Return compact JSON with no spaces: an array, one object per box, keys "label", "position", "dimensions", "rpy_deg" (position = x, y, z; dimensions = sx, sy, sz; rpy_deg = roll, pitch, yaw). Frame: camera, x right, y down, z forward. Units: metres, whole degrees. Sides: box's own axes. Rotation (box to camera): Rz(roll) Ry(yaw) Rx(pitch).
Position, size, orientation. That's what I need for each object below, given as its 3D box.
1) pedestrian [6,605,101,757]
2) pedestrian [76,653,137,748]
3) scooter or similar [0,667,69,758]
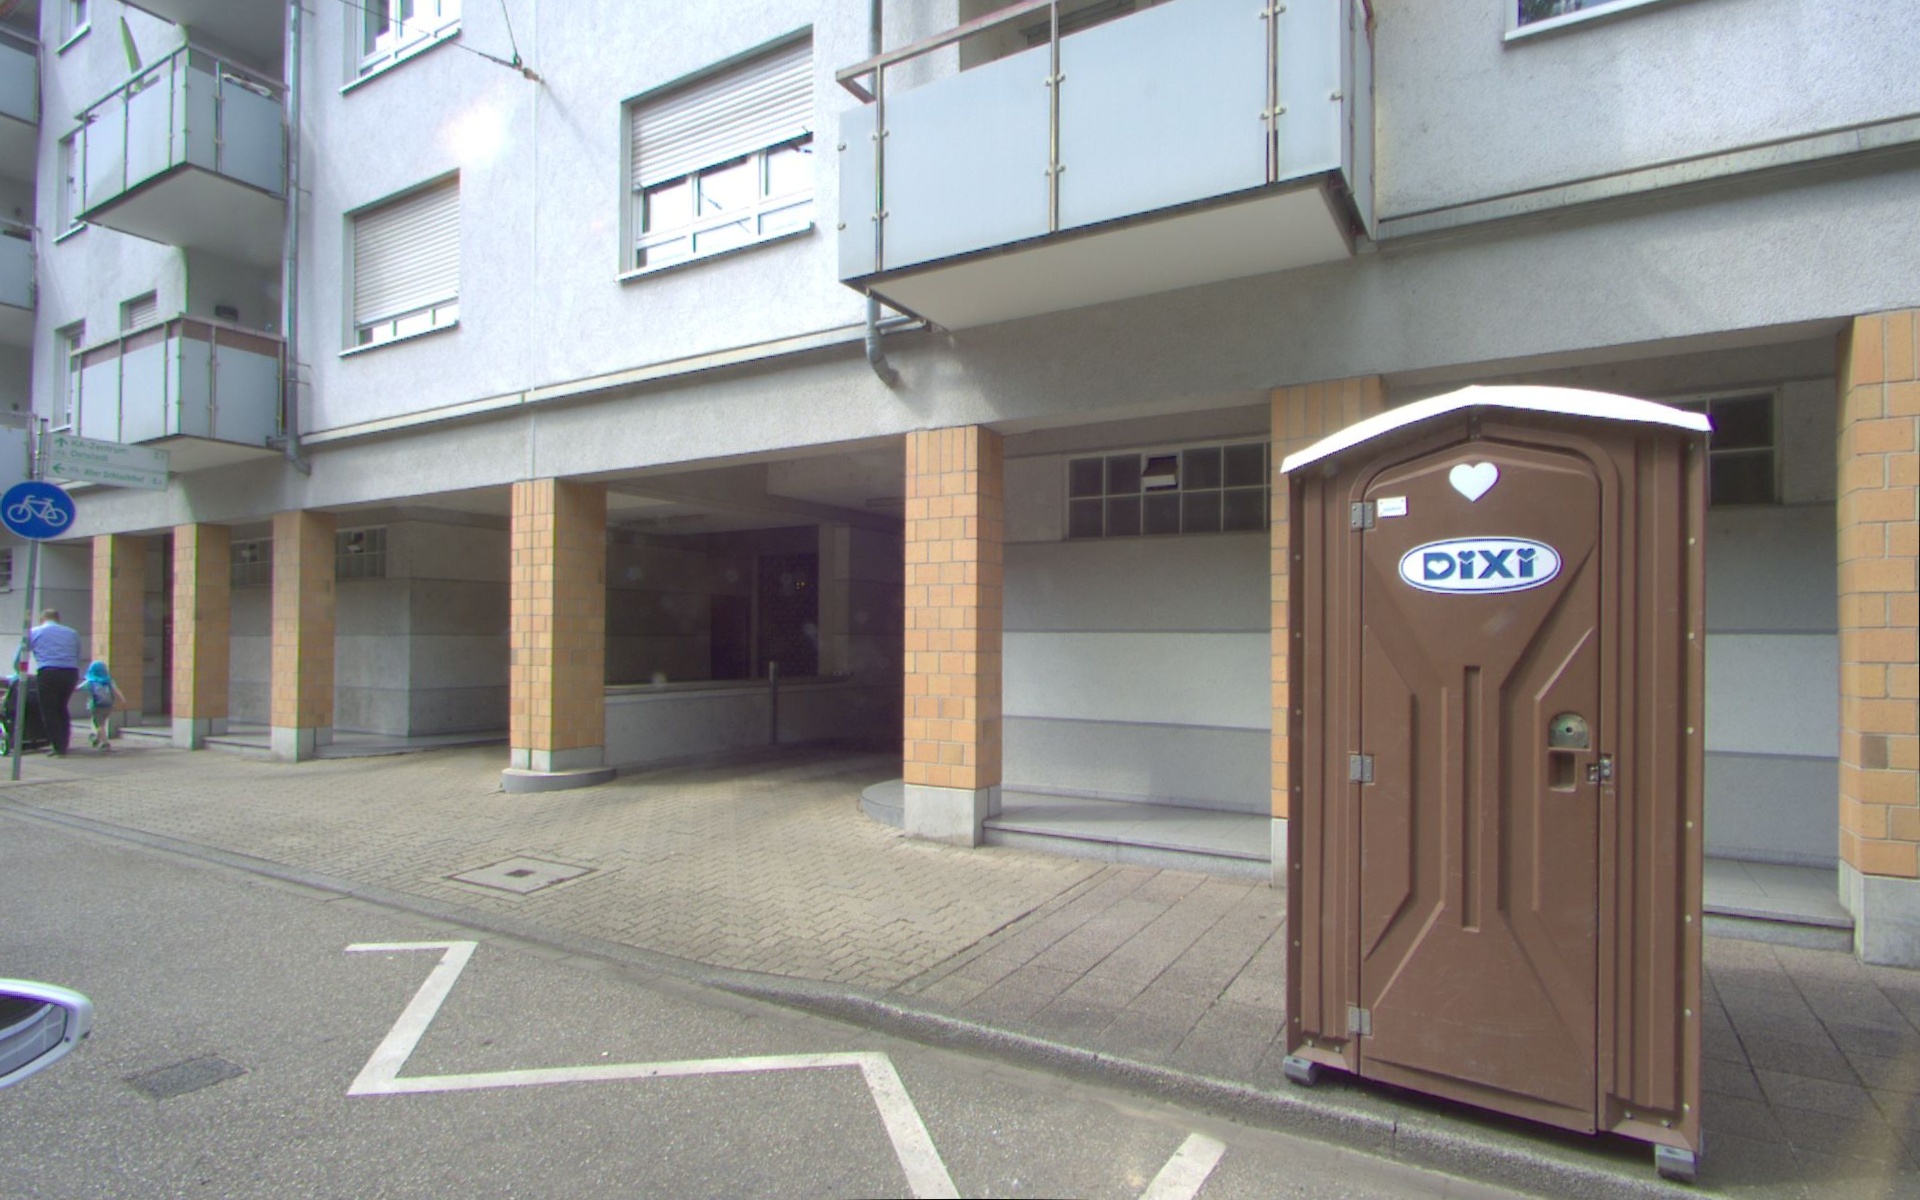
[{"label":"pedestrian","position":[-11.035,0.955,12.187],"dimensions":[0.865,1.762,0.619],"rpy_deg":[0,1,32]},{"label":"pedestrian","position":[-10.931,1.273,12.828],"dimensions":[0.487,1.150,0.455],"rpy_deg":[0,1,32]},{"label":"scooter or similar","position":[-11.670,1.378,12.474],"dimensions":[0.893,1.016,0.591],"rpy_deg":[-1,2,32]}]
